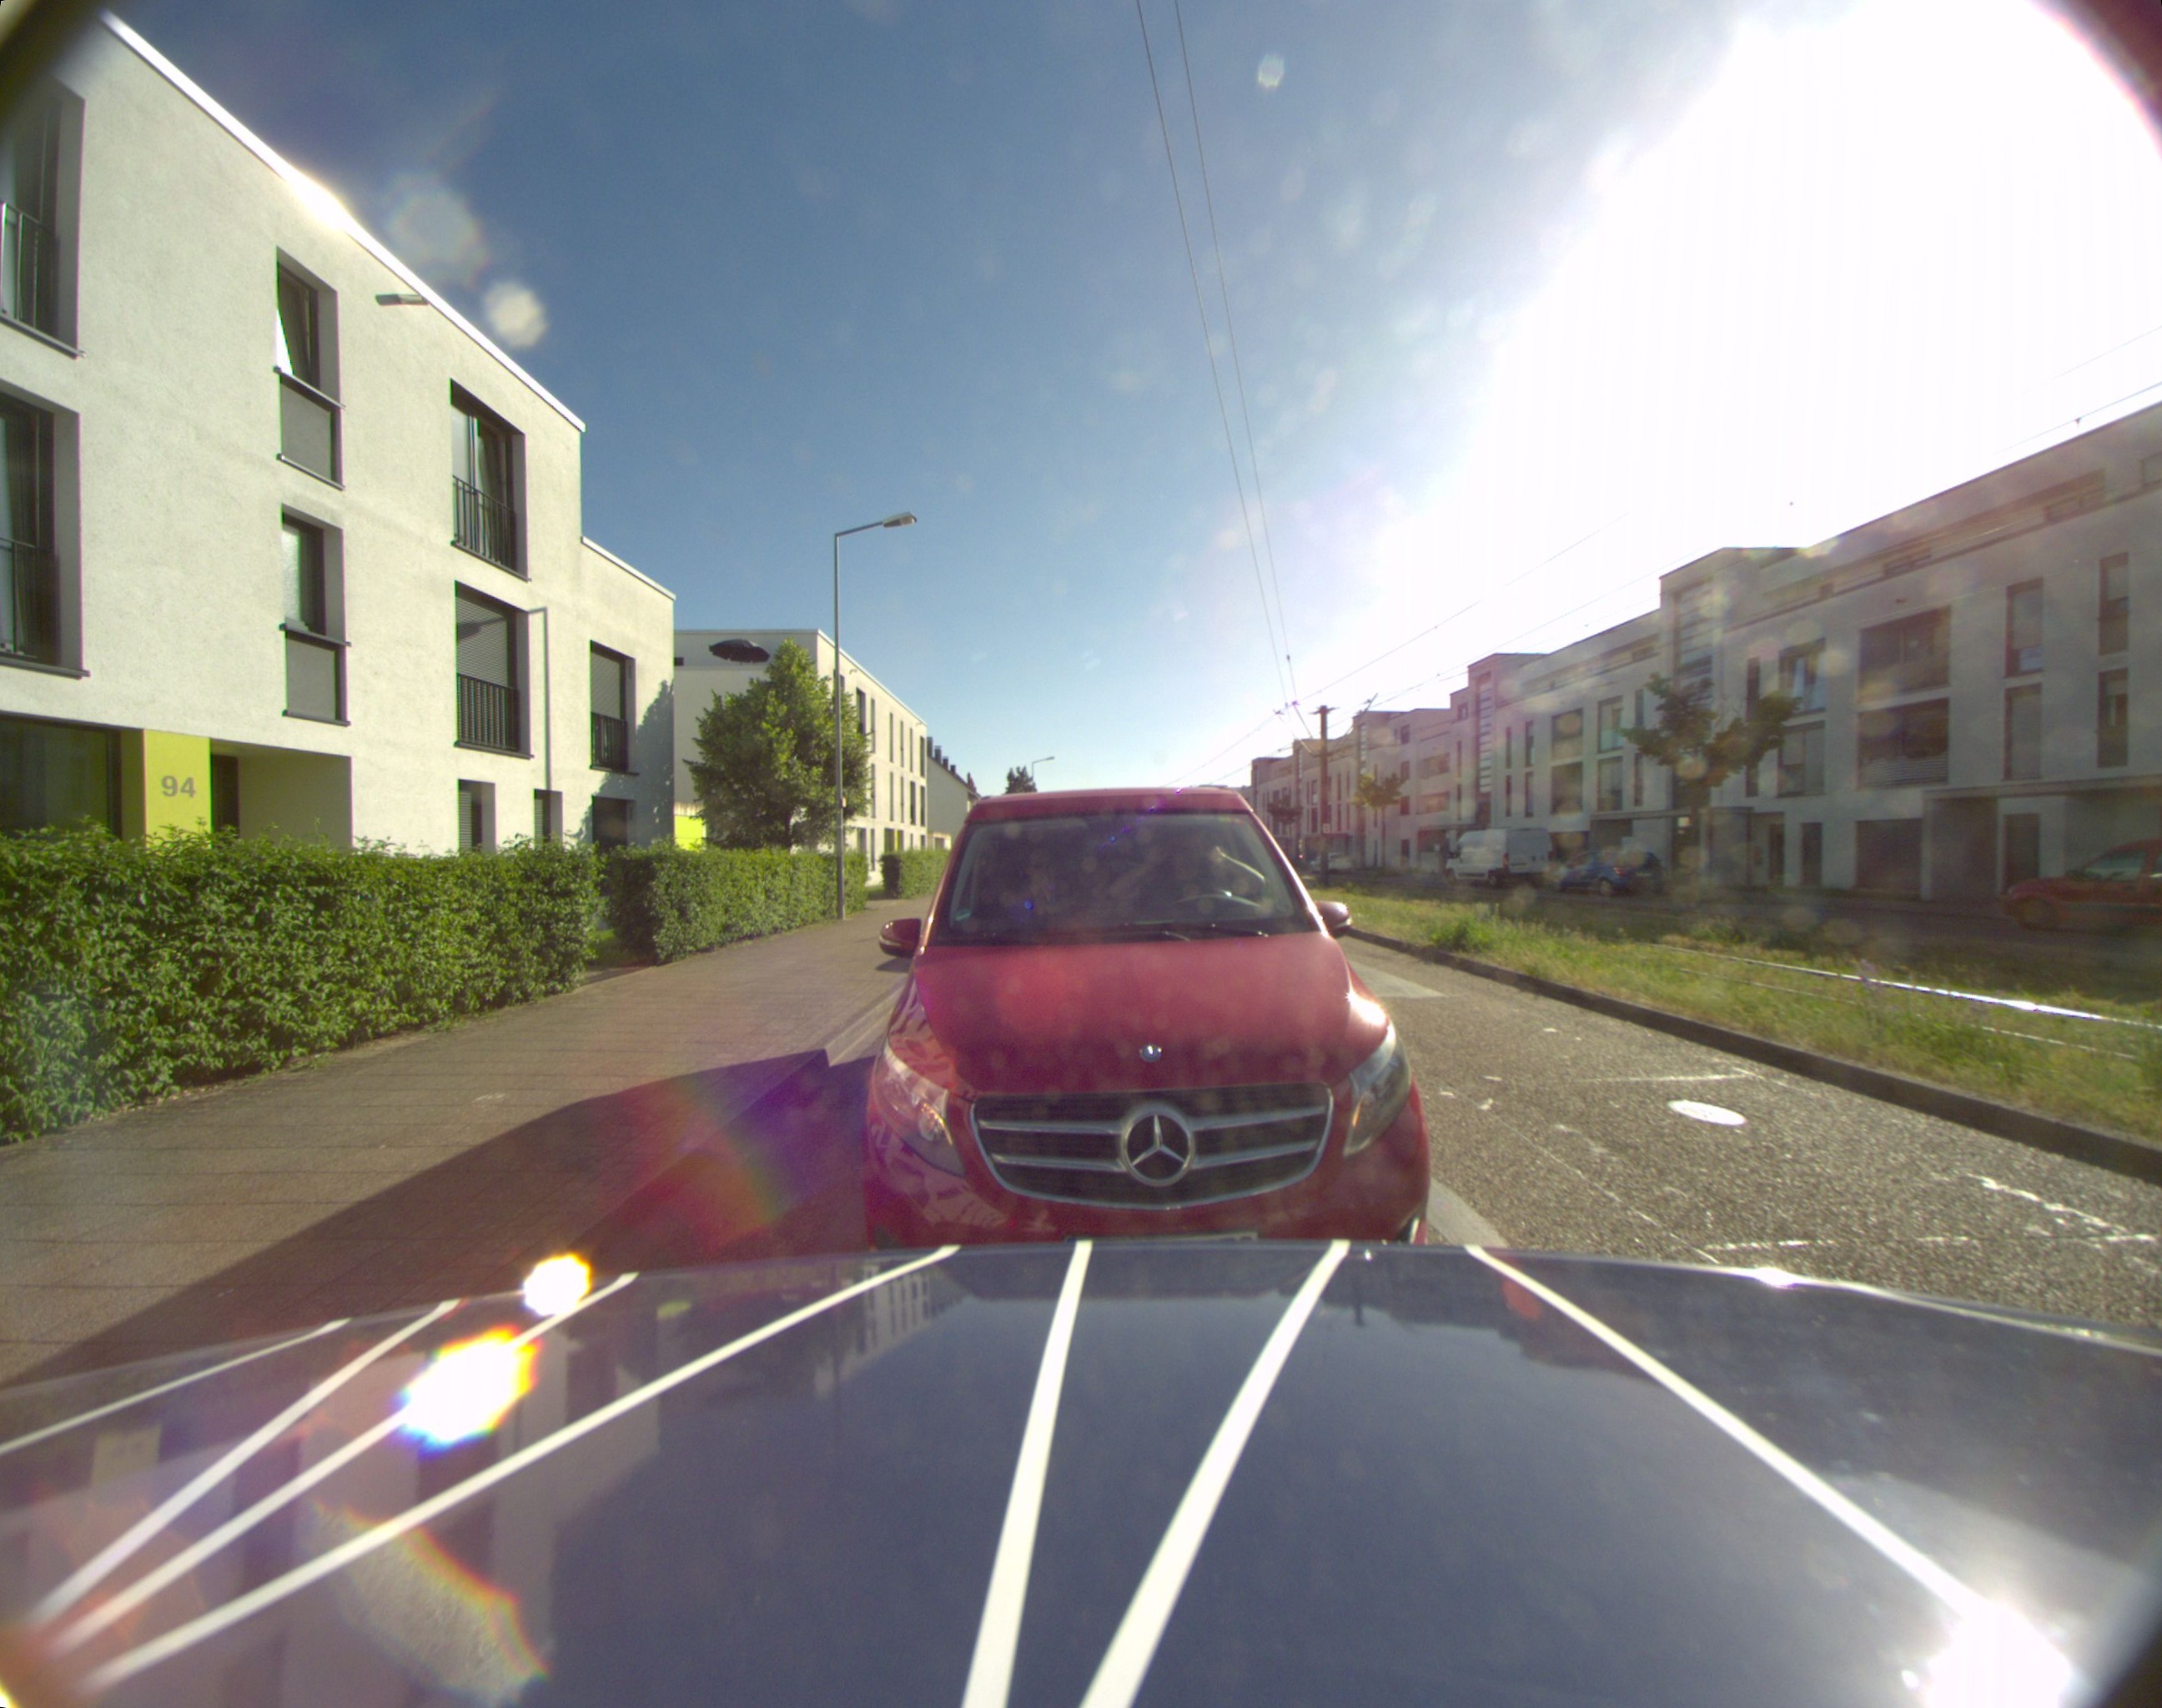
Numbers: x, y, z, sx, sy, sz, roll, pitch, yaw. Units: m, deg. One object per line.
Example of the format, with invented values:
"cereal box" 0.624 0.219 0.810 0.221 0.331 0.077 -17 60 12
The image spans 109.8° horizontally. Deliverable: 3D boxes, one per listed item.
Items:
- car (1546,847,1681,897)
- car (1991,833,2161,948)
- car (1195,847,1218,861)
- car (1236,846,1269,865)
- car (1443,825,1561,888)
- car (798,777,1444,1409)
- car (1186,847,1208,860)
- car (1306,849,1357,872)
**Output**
"car" 18.380 0.578 26.479 1.998 1.536 3.835 -2 1 0
"car" 18.619 0.580 12.788 1.998 1.817 3.895 -2 1 3
"car" 15.479 -0.035 93.886 1.923 1.671 4.282 -2 1 -4
"car" 16.723 0.135 74.334 1.923 1.671 4.282 -2 1 -4
"car" 18.172 0.076 33.151 2.225 2.458 5.195 -2 1 0
"car" 0.155 0.703 4.533 1.874 1.843 4.506 -2 1 1
"car" 15.193 -0.057 99.637 1.923 1.671 4.282 -2 1 -4
"car" 17.638 0.417 53.720 1.923 1.497 4.282 -2 1 -4
